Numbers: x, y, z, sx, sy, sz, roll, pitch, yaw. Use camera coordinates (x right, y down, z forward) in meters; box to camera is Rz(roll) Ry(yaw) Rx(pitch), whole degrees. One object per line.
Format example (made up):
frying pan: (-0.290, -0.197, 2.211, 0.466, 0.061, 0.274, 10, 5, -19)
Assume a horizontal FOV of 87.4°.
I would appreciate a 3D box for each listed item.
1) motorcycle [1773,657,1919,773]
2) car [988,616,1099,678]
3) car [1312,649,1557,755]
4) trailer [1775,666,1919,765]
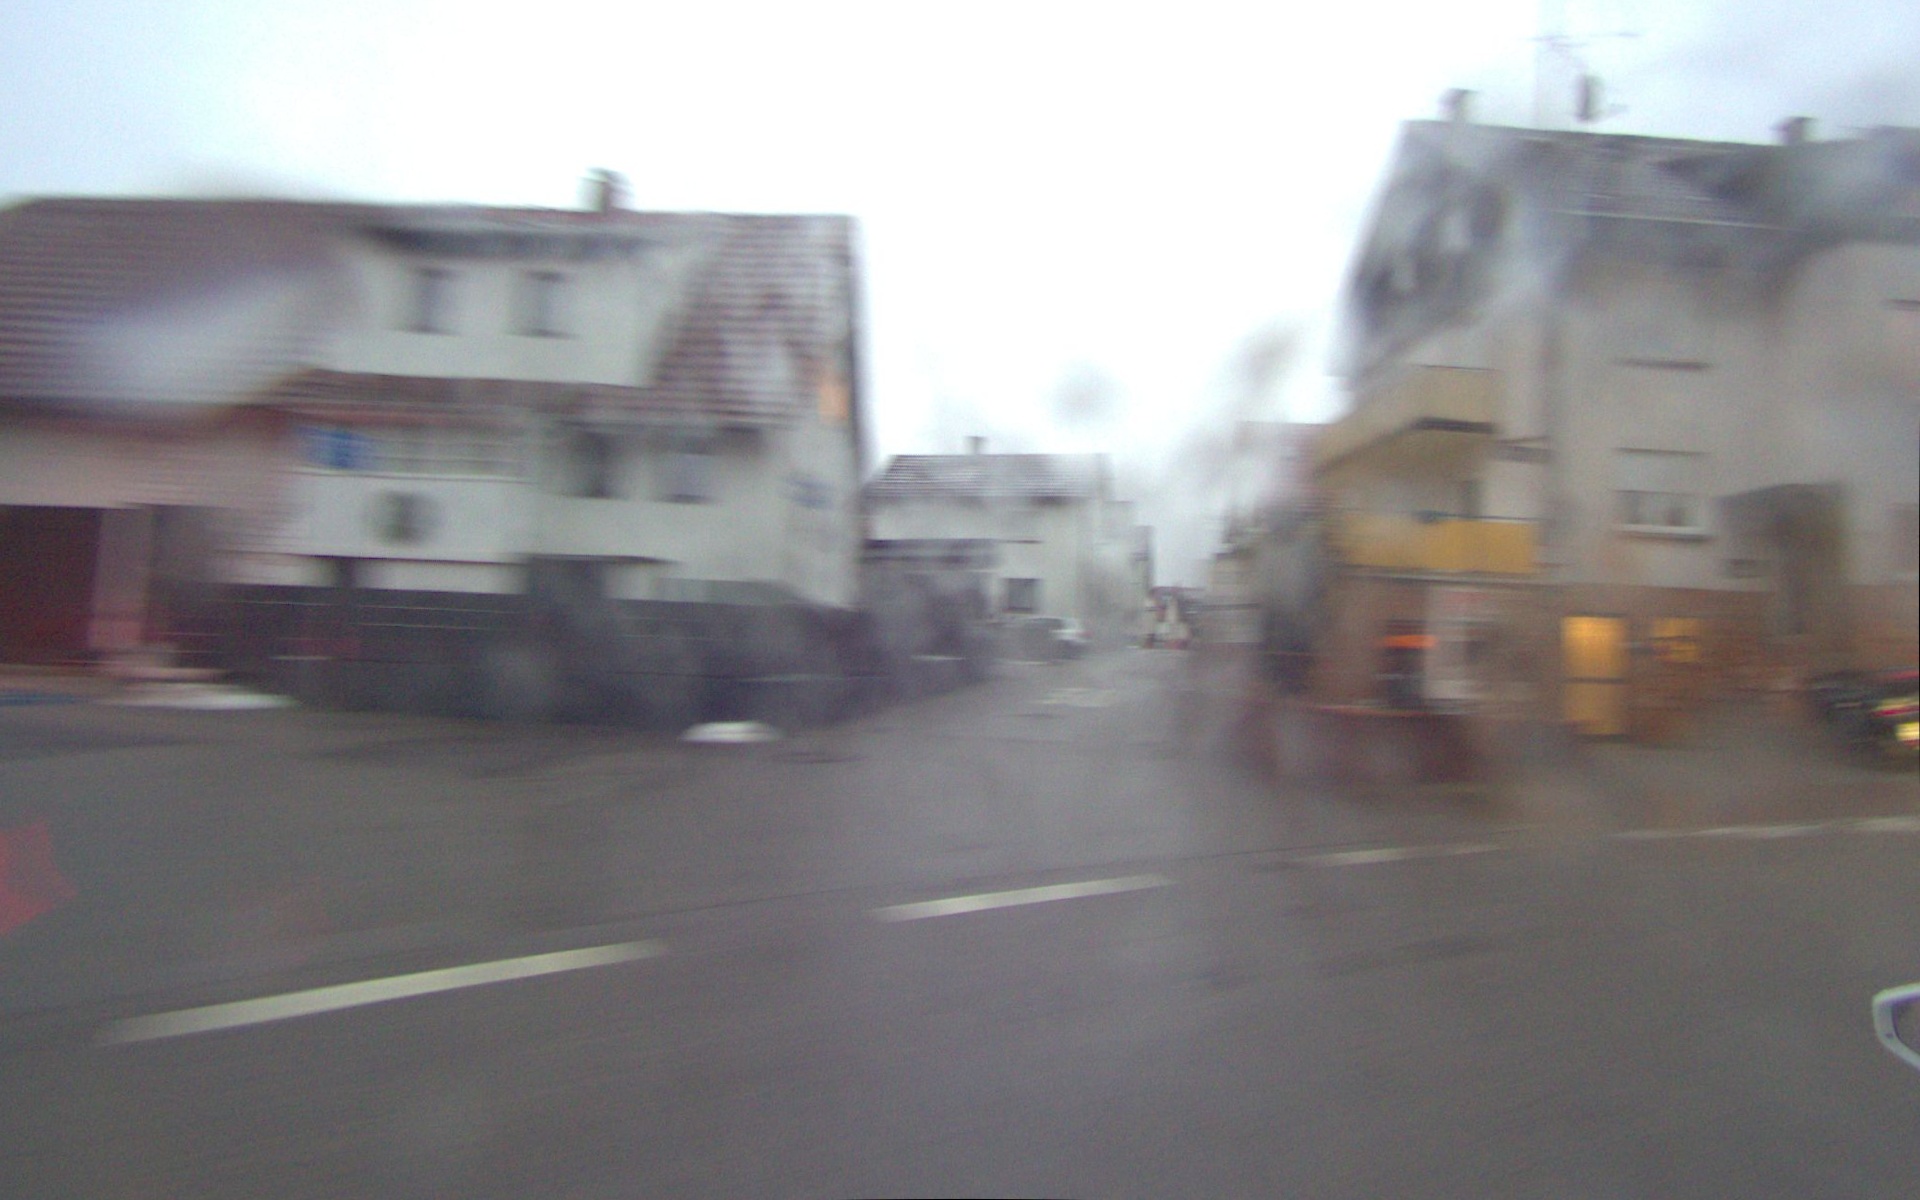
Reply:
motorcycle: (11.597, 1.417, 12.893, 1.036, 1.315, 2.239, 0, -2, 17)
car: (3.027, 1.716, 37.069, 3.921, 2.040, 2.001, 3, -2, 1)
car: (7.494, 1.554, 16.344, 1.880, 1.435, 3.998, 1, -2, -4)
trailer: (13.912, 1.500, 13.528, 4.784, 1.184, 2.060, 1, -3, -13)
